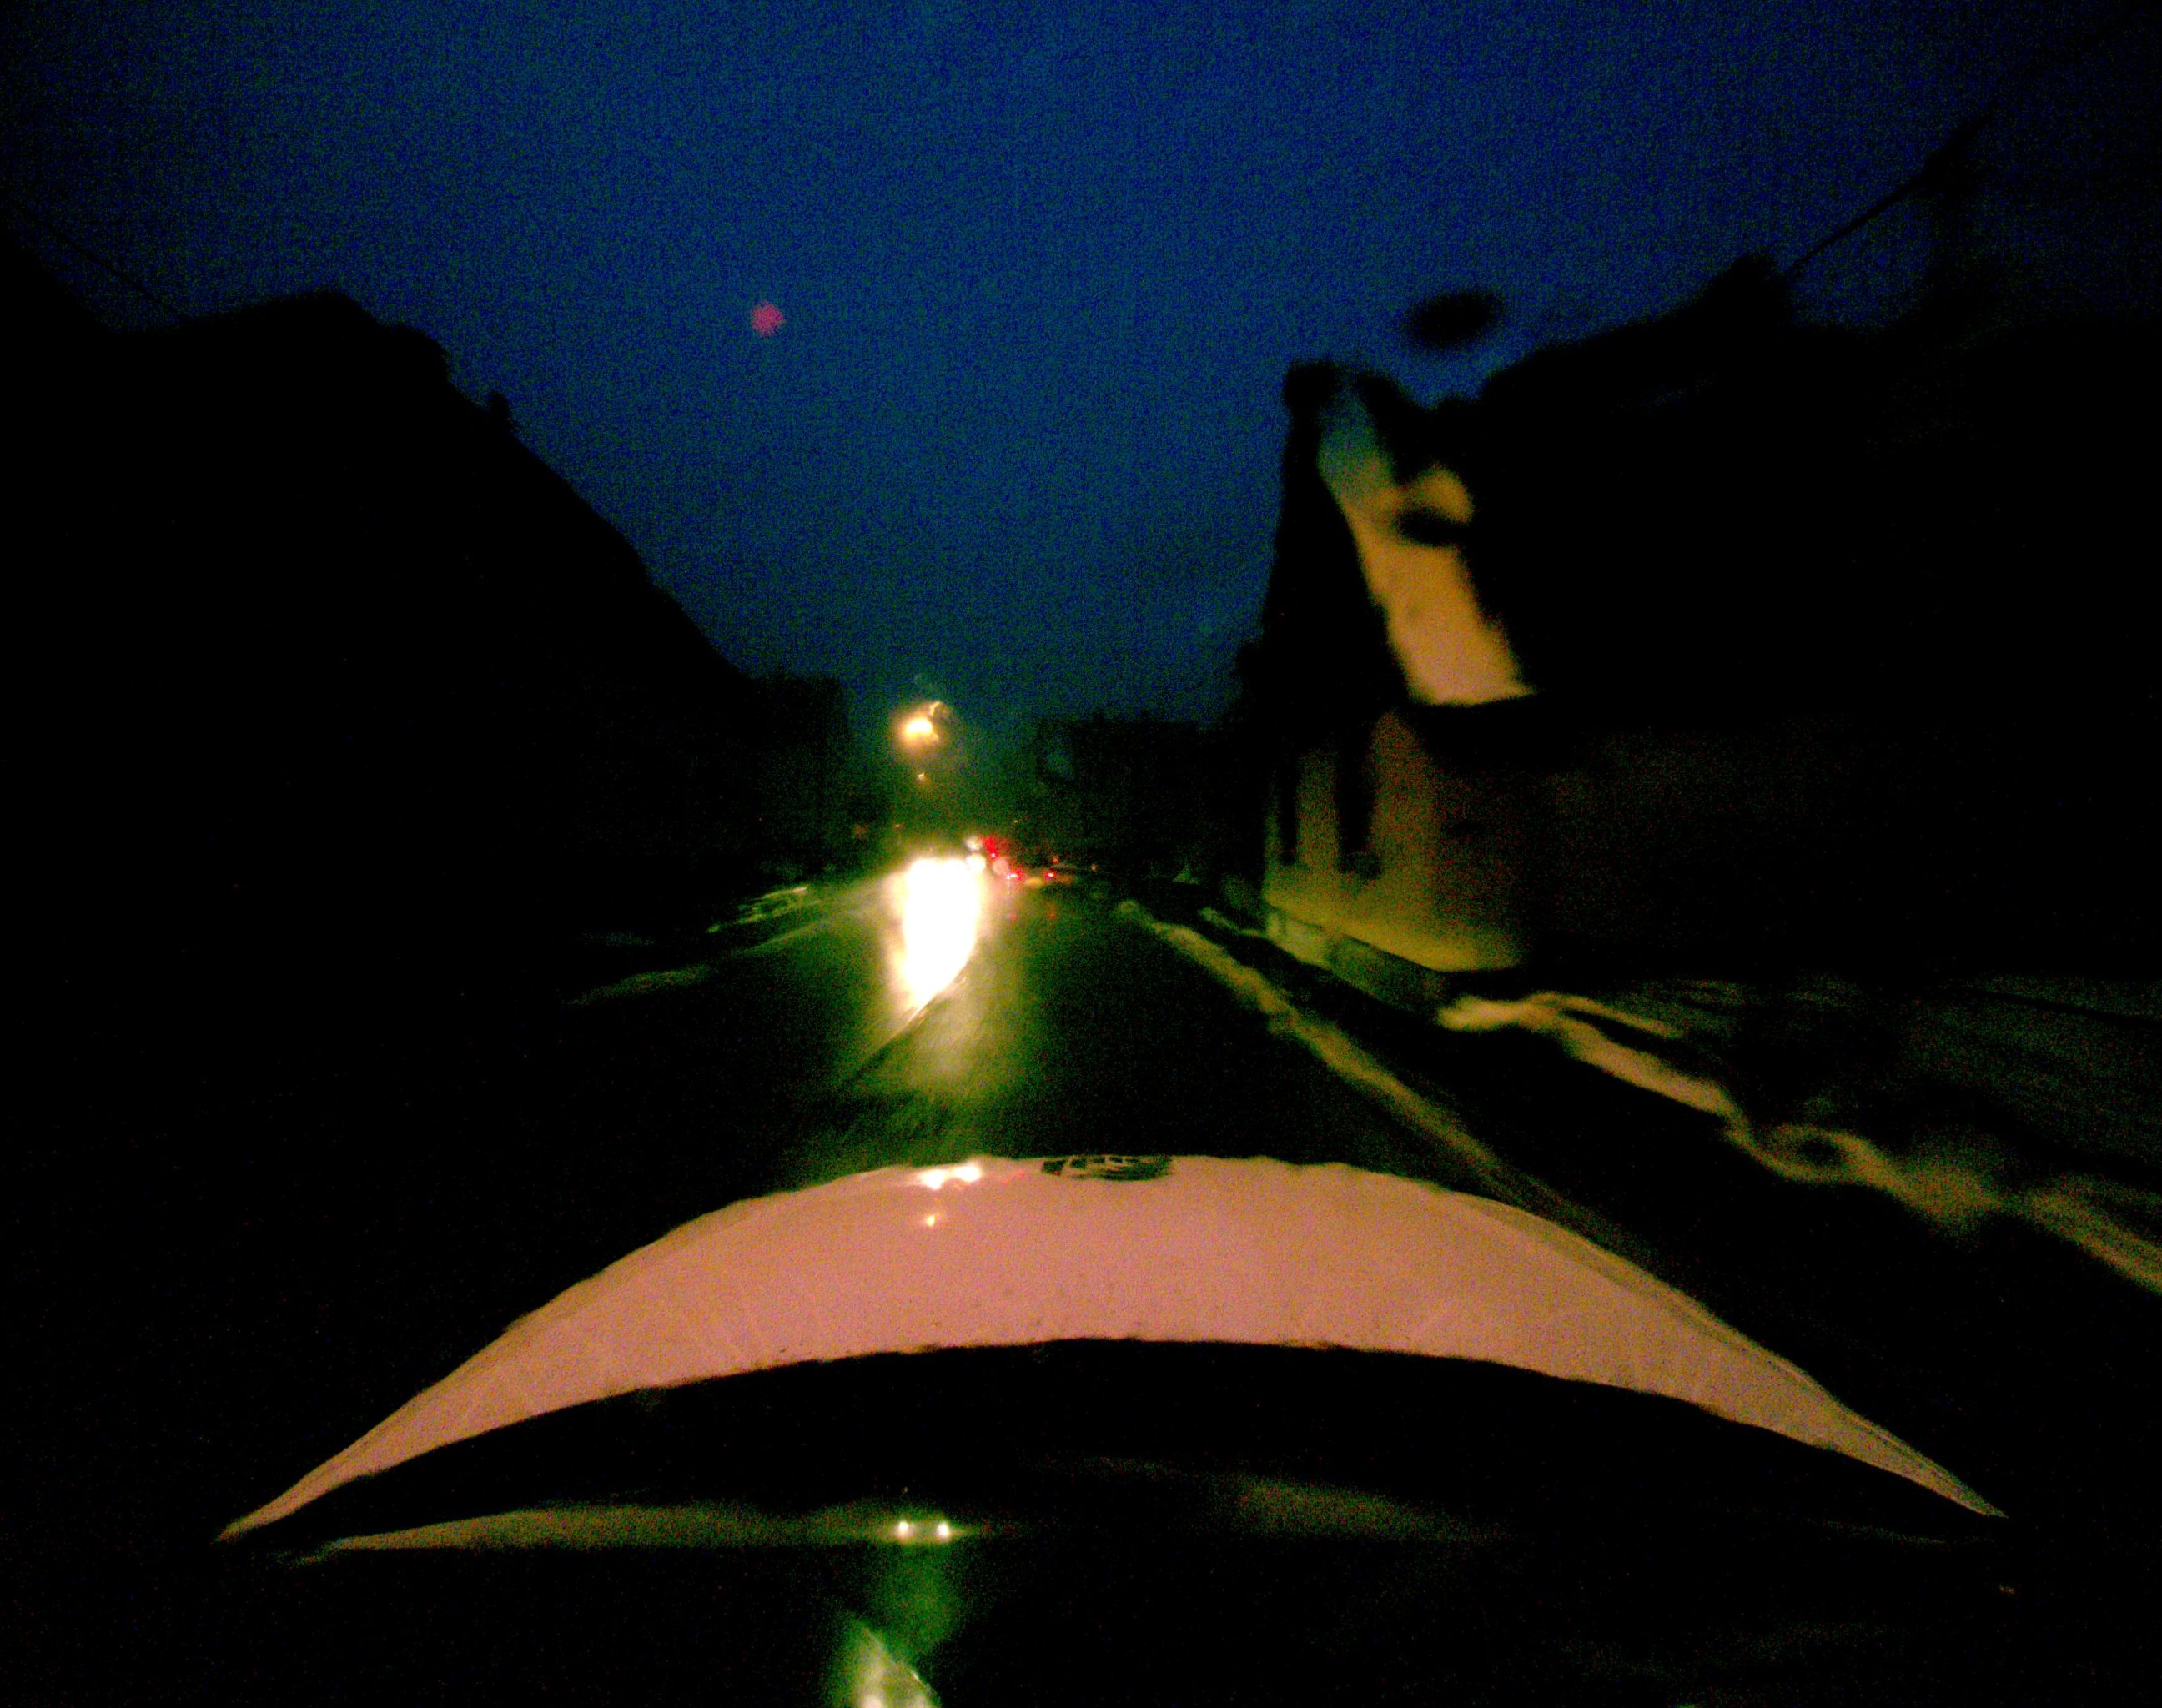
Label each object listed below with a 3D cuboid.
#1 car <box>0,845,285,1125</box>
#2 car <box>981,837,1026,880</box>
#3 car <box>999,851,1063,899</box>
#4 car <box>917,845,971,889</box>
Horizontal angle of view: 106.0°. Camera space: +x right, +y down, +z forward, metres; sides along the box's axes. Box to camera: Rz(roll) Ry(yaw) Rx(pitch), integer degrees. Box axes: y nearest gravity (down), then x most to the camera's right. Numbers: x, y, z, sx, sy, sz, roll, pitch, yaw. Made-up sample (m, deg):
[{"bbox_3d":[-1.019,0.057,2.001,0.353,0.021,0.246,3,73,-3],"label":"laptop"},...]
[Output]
[{"bbox_3d":[-7.031,0.750,4.100,1.988,1.522,4.187,1,1,-2],"label":"car"},{"bbox_3d":[-3.878,0.273,41.478,1.988,2.014,3.996,2,-2,-2],"label":"car"},{"bbox_3d":[-1.834,0.726,28.640,1.991,1.508,3.990,2,-2,-6],"label":"car"},{"bbox_3d":[-5.728,0.604,34.485,1.837,1.687,4.470,-1,-2,-4],"label":"car"}]
